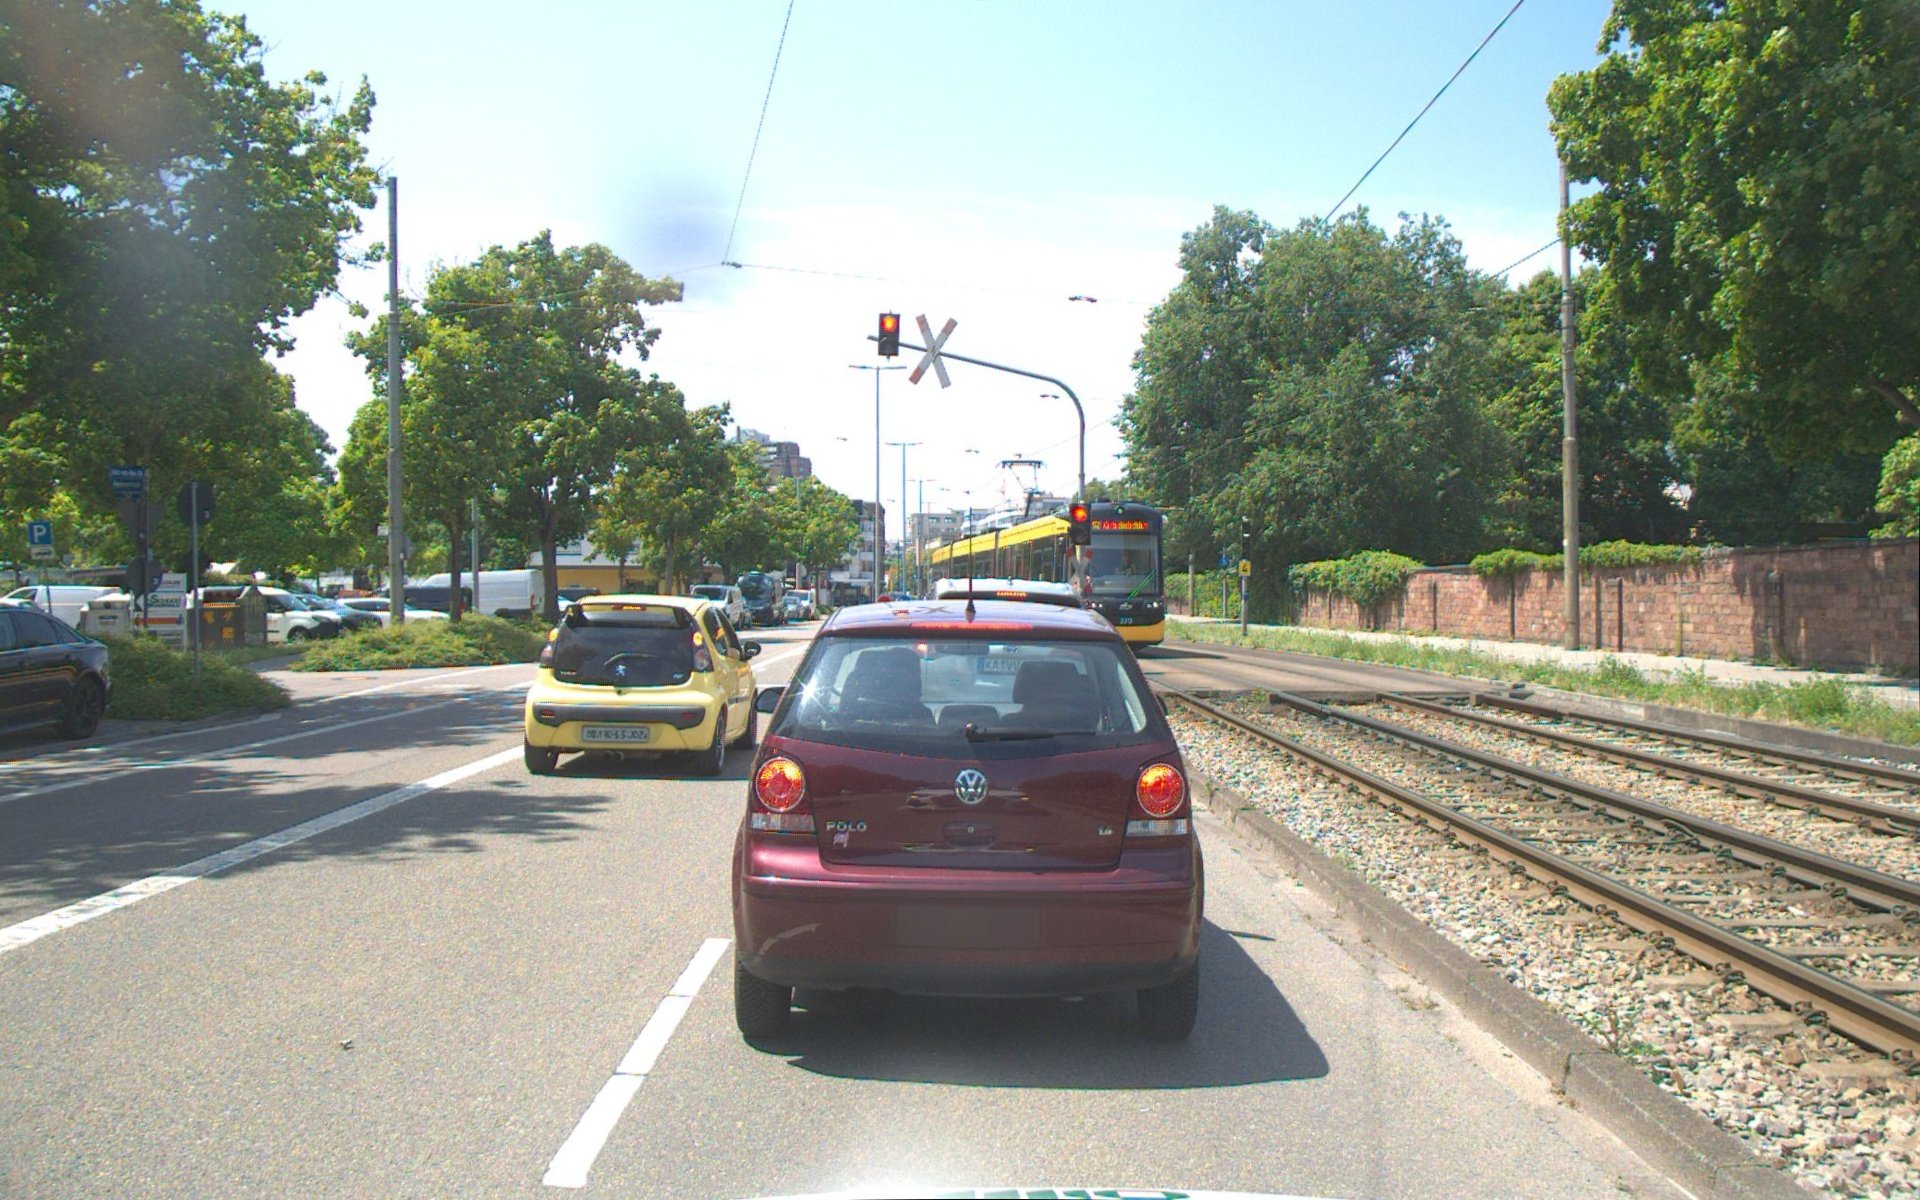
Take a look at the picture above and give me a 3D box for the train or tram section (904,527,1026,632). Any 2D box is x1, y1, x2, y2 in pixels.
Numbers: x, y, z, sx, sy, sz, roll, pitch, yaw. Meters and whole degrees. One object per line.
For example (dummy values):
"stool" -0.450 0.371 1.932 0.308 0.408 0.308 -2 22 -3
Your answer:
"train or tram section" -0.007 -0.785 64.676 2.692 3.672 10.922 2 0 -11

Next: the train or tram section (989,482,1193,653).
"train or tram section" 3.001 -0.785 42.810 2.689 3.672 12.850 2 0 -7

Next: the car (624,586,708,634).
"car" -10.748 0.383 60.777 1.934 1.629 4.560 2 -1 4

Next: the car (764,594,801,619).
"car" -10.832 0.395 101.266 1.581 1.466 4.001 2 -1 3

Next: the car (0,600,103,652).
"car" -32.482 0.898 57.945 3.913 1.682 1.812 2 -1 -9

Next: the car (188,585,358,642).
"car" -20.458 0.392 49.352 4.251 1.612 1.914 0 0 5

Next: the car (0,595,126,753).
"car" -10.307 0.728 16.483 1.782 1.502 4.448 2 0 -1

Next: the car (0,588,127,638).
"car" -32.841 0.475 60.328 3.913 1.682 1.812 2 -1 -9

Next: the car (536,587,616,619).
"car" -21.211 0.165 91.409 3.938 1.645 1.816 2 -1 0

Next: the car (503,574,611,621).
"car" -21.168 -0.111 87.051 4.993 2.283 2.378 2 -1 0

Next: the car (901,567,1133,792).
"car" 0.384 0.598 14.638 1.741 1.676 3.999 2 0 -2

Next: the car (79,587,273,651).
"car" -20.941 0.490 44.330 4.256 1.612 1.912 -1 0 -3

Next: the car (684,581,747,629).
"car" -10.462 0.241 71.020 1.746 1.914 4.787 2 -1 2

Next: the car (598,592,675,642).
"car" -10.553 0.543 54.230 1.628 1.523 4.000 2 -1 1

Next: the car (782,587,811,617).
"car" -10.608 0.138 107.344 1.741 1.860 3.995 2 -1 -6

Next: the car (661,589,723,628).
"car" -10.621 0.353 65.827 1.581 1.466 4.001 2 -1 3

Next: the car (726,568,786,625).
"car" -10.320 -0.134 84.067 2.313 2.739 5.307 2 -1 0

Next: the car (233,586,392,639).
"car" -20.379 0.374 52.148 4.251 1.612 1.914 0 0 5

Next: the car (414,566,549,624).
"car" -20.385 -0.193 70.636 4.993 2.283 2.378 2 -1 0

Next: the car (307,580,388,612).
"car" -35.341 -0.221 95.435 3.939 1.645 1.816 2 -1 -2

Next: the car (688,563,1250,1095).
"car" -0.019 0.672 6.926 1.638 1.548 3.999 2 0 -2

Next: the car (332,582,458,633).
"car" -20.522 0.261 60.179 3.906 1.776 1.998 -1 0 -2

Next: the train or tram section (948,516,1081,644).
"train or tram section" 1.586 -0.637 54.229 2.688 3.672 10.935 2 0 -7

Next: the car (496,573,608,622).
"car" -20.784 -0.120 84.414 4.993 2.283 2.378 2 -1 0

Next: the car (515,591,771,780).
"car" -2.689 0.665 14.762 1.656 1.435 3.514 2 0 -2

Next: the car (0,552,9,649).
"car" -33.114 -0.117 50.388 6.714 3.017 2.363 2 -1 -2

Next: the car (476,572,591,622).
"car" -21.085 -0.153 81.939 4.993 2.283 2.378 2 -1 0
